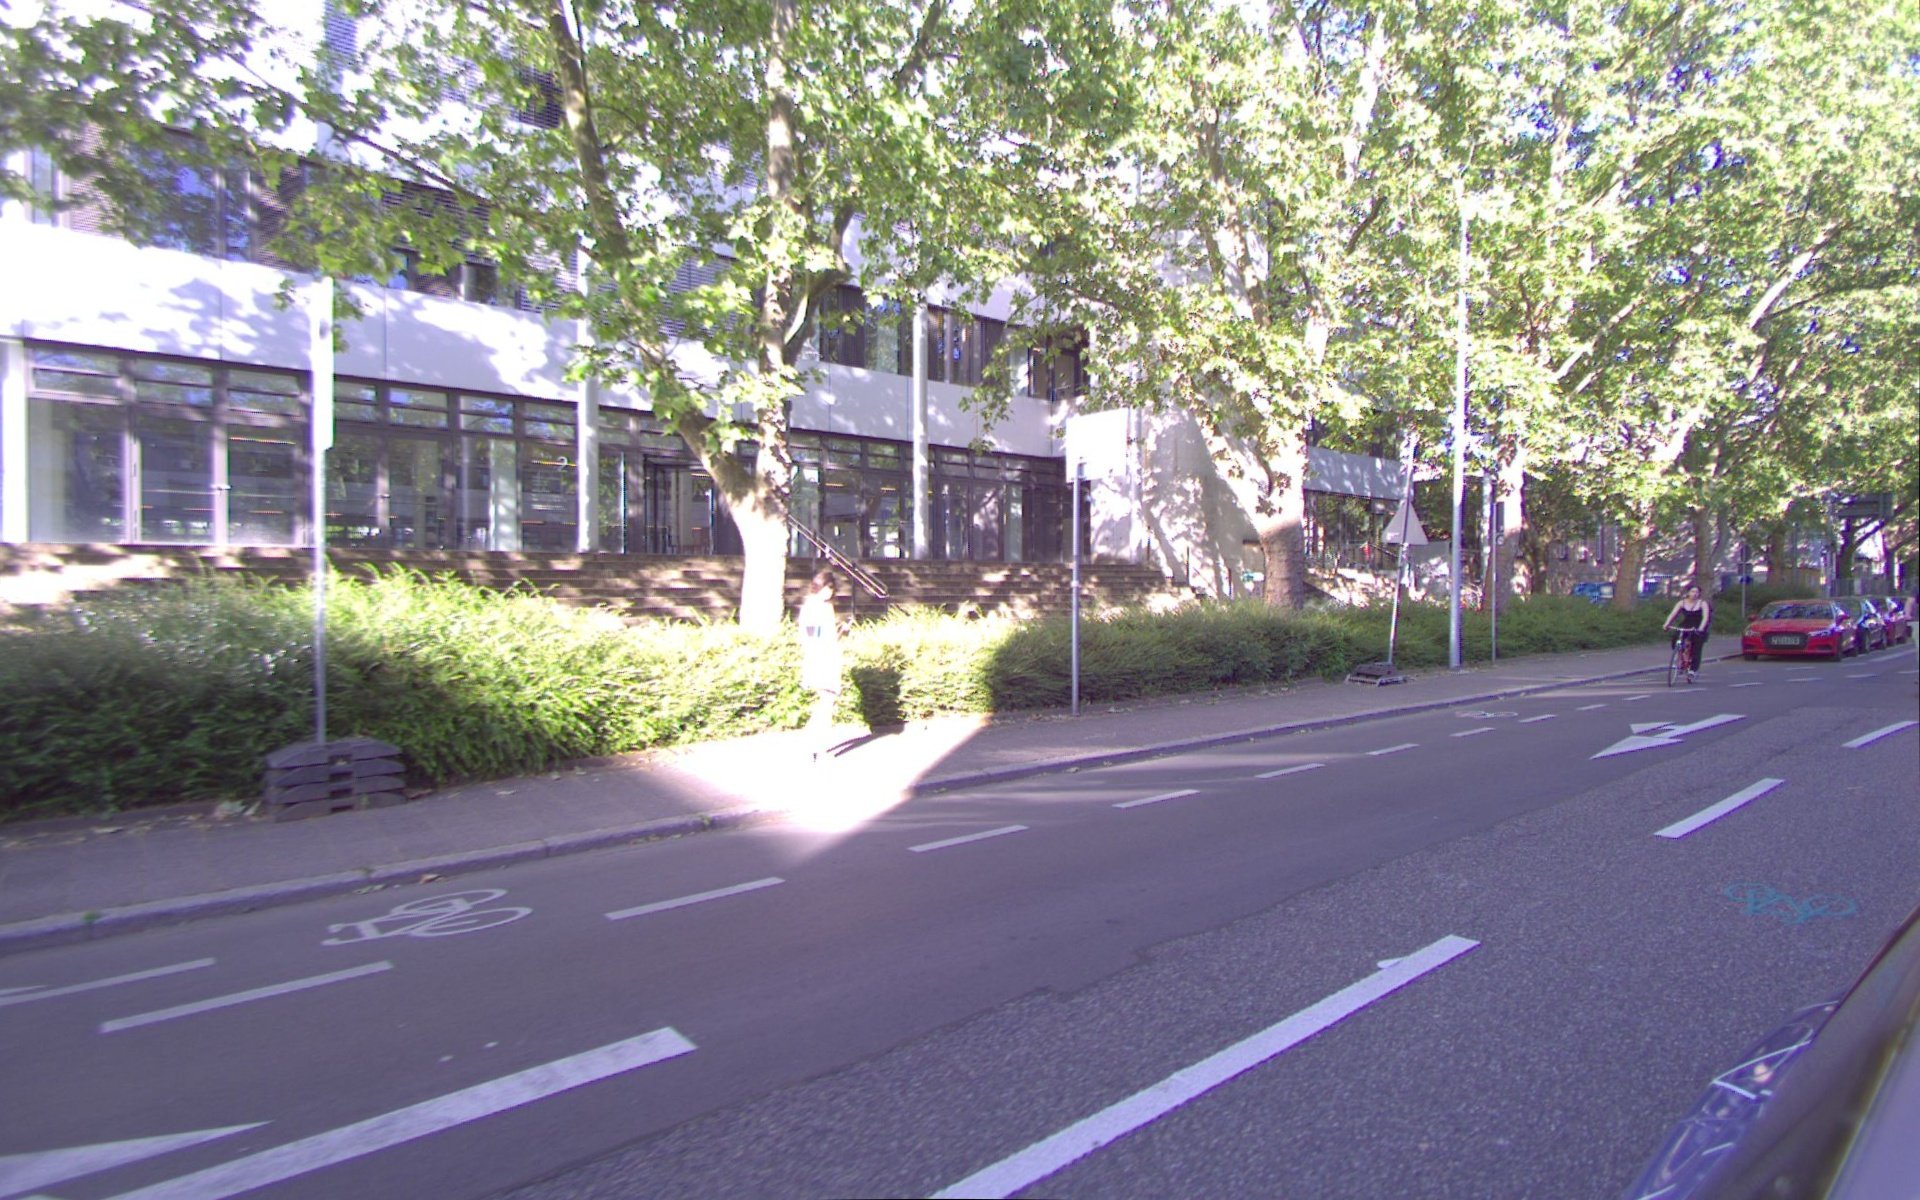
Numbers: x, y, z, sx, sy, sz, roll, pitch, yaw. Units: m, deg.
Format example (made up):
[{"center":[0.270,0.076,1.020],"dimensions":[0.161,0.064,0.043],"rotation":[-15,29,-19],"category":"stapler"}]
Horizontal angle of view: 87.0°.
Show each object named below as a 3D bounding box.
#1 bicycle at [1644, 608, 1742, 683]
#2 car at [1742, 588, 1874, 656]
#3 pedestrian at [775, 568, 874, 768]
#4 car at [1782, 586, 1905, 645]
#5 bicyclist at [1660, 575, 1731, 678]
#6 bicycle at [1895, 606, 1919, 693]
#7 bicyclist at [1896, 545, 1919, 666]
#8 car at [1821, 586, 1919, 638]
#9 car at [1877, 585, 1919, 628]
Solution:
[{"center":[12.446,0.726,17.143],"dimensions":[2.767,1.150,0.769],"rotation":[0,-1,-42],"category":"bicycle"},{"center":[20.373,0.464,24.258],"dimensions":[4.007,1.461,1.896],"rotation":[-1,1,-42],"category":"car"},{"center":[-1.147,0.540,8.573],"dimensions":[0.671,1.614,0.462],"rotation":[-1,0,-42],"category":"pedestrian"},{"center":[23.873,0.351,27.299],"dimensions":[4.004,1.465,1.897],"rotation":[-1,1,-40],"category":"car"},{"center":[12.550,0.434,17.270],"dimensions":[0.880,1.701,0.769],"rotation":[-1,-1,-42],"category":"bicyclist"},{"center":[14.343,0.685,14.752],"dimensions":[2.767,1.150,0.769],"rotation":[-1,-1,-42],"category":"bicycle"},{"center":[14.408,0.054,14.847],"dimensions":[0.885,1.755,0.769],"rotation":[-1,-4,-42],"category":"bicyclist"},{"center":[27.927,0.310,30.878],"dimensions":[4.004,1.469,1.897],"rotation":[-1,1,-40],"category":"car"},{"center":[34.989,0.208,36.811],"dimensions":[4.004,1.469,1.897],"rotation":[-1,1,-40],"category":"car"}]
